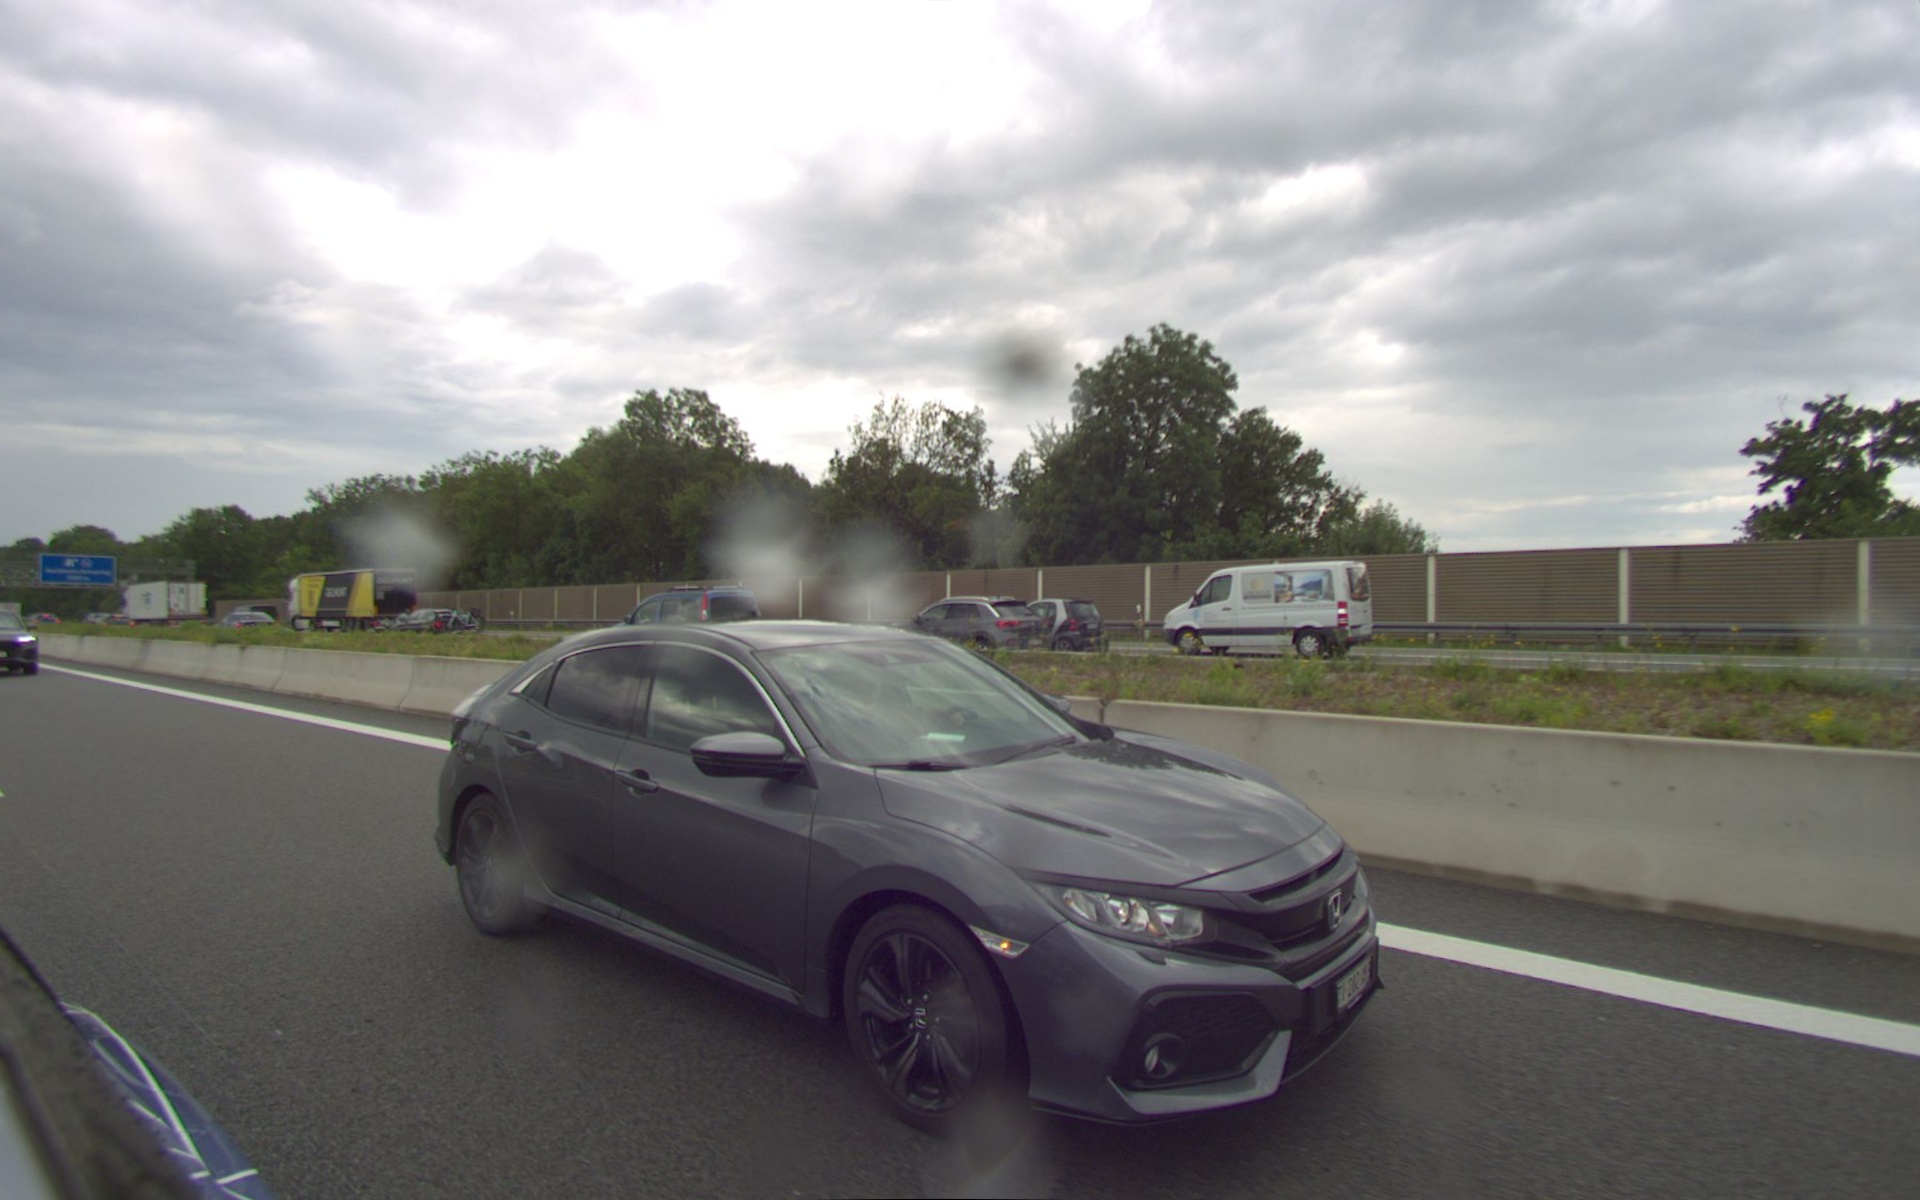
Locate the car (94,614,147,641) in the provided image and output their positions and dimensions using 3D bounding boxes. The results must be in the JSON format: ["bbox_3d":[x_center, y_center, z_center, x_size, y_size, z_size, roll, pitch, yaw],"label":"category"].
[{"bbox_3d":[-51.715,1.687,62.286,4.580,1.548,1.747,-1,0,41],"label":"car"}]

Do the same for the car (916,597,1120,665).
[{"bbox_3d":[1.369,0.743,25.660,5.157,1.548,1.747,-1,0,41],"label":"car"}]

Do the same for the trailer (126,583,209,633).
[{"bbox_3d":[-66.331,0.664,84.547,14.043,3.915,2.697,-1,0,41],"label":"trailer"}]

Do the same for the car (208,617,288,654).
[{"bbox_3d":[-32.184,1.554,45.675,5.157,1.548,1.747,-1,0,41],"label":"car"}]

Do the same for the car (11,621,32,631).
[{"bbox_3d":[-147.510,4.070,159.035,3.997,1.548,1.973,-1,0,40],"label":"car"}]

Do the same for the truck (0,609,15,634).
[{"bbox_3d":[-115.196,2.596,121.167,6.245,2.849,2.306,-1,0,41],"label":"truck"}]

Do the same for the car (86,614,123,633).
[{"bbox_3d":[-71.509,1.935,84.544,3.997,1.548,1.740,-1,0,40],"label":"car"}]

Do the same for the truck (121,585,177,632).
[{"bbox_3d":[-71.000,0.723,88.570,6.000,3.915,2.697,-1,0,41],"label":"truck"}]

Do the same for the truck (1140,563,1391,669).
[{"bbox_3d":[7.694,0.392,25.952,5.794,2.435,2.094,-1,0,41],"label":"truck"}]

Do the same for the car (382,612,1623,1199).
[{"bbox_3d":[-0.435,0.768,4.114,5.057,1.379,1.742,-1,-1,41],"label":"car"}]

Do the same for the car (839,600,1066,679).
[{"bbox_3d":[-0.287,0.816,22.443,5.157,1.548,1.747,-1,0,41],"label":"car"}]

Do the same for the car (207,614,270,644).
[{"bbox_3d":[-41.211,1.624,57.763,5.237,1.548,1.747,-1,0,41],"label":"car"}]

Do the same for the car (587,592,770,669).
[{"bbox_3d":[-6.381,0.633,22.665,4.480,1.548,1.747,-1,0,41],"label":"car"}]

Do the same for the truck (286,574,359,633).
[{"bbox_3d":[-45.048,0.249,71.455,6.439,3.993,2.650,-1,0,41],"label":"truck"}]

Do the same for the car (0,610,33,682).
[{"bbox_3d":[-24.810,1.111,25.428,5.169,1.704,1.887,-1,0,43],"label":"car"}]

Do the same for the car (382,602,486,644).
[{"bbox_3d":[-21.415,0.900,41.082,5.710,1.560,1.747,-1,0,41],"label":"car"}]

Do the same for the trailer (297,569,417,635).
[{"bbox_3d":[-40.314,0.184,67.305,14.045,3.993,2.650,-1,0,41],"label":"trailer"}]

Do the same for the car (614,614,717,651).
[{"bbox_3d":[-12.846,1.377,43.973,5.157,1.507,1.747,-1,0,41],"label":"car"}]

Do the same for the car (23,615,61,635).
[{"bbox_3d":[-75.101,2.000,82.762,4.580,1.548,1.747,-1,0,41],"label":"car"}]
